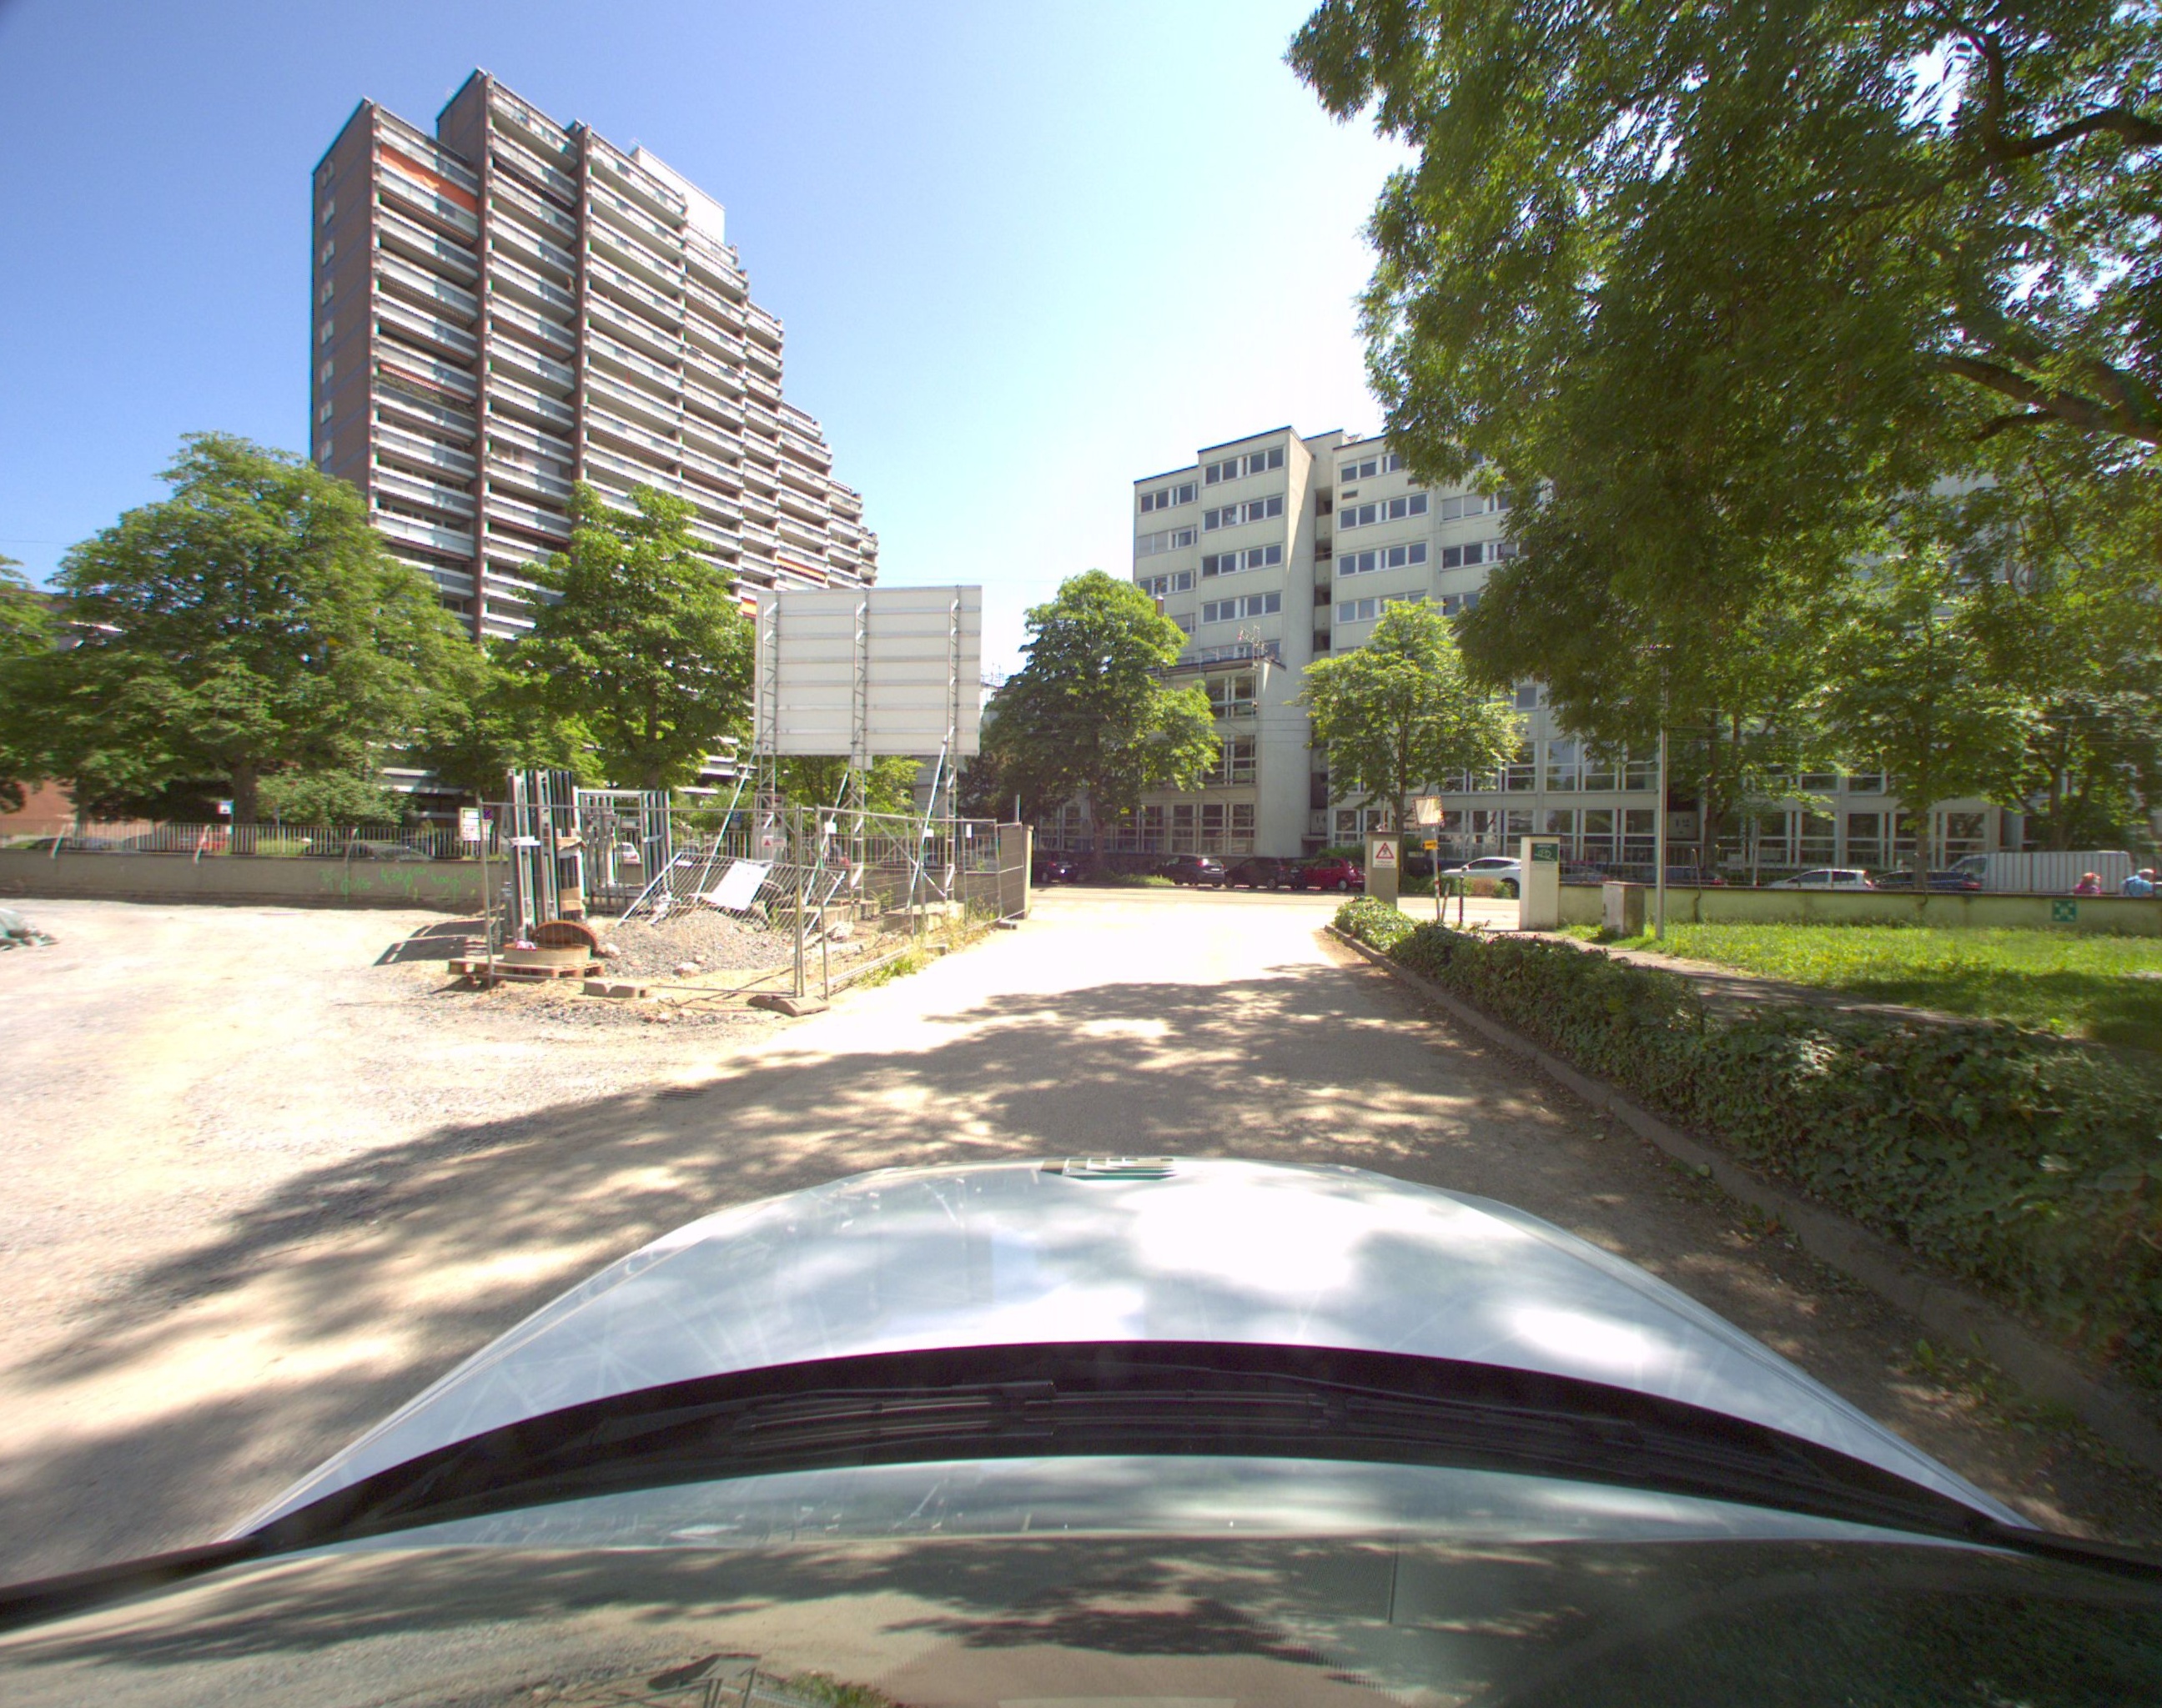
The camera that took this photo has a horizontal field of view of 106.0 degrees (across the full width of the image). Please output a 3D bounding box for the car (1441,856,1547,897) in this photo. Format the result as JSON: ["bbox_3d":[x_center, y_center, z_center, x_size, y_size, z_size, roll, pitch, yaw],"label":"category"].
[{"bbox_3d":[17.673,0.908,34.956,1.620,1.620,3.701,1,0,-40],"label":"car"}]

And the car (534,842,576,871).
[{"bbox_3d":[-26.108,0.116,40.363,1.645,1.387,3.639,1,0,-34],"label":"car"}]

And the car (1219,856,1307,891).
[{"bbox_3d":[8.050,0.828,36.226,1.620,1.445,3.636,1,0,-38],"label":"car"}]

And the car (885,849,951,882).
[{"bbox_3d":[-7.589,0.509,37.719,1.645,1.463,3.638,1,0,-36],"label":"car"}]

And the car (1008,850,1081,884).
[{"bbox_3d":[-1.716,0.565,37.426,1.645,1.463,3.638,1,0,-36],"label":"car"}]

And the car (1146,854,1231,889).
[{"bbox_3d":[4.827,0.748,36.832,1.653,1.463,3.634,1,0,-41],"label":"car"}]

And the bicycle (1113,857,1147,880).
[{"bbox_3d":[2.677,0.747,43.944,0.773,1.188,2.447,0,0,31],"label":"bicycle"}]

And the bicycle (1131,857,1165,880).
[{"bbox_3d":[3.581,0.752,43.436,0.773,1.188,2.447,0,0,31],"label":"bicycle"}]

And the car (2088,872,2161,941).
[{"bbox_3d":[25.498,1.175,18.054,3.903,1.464,1.710,1,0,7],"label":"car"}]

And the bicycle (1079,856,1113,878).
[{"bbox_3d":[0.839,0.717,44.975,0.773,1.157,2.399,0,0,31],"label":"bicycle"}]

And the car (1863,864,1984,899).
[{"bbox_3d":[34.013,1.084,32.947,1.542,1.291,3.325,1,0,-40],"label":"car"}]

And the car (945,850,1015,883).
[{"bbox_3d":[-4.728,0.558,37.753,1.645,1.463,3.638,1,0,-36],"label":"car"}]

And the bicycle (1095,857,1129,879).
[{"bbox_3d":[1.726,0.756,44.460,0.773,1.157,2.399,0,0,31],"label":"bicycle"}]

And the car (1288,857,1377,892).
[{"bbox_3d":[11.081,0.867,36.068,1.619,1.437,3.565,1,0,-34],"label":"car"}]

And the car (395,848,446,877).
[{"bbox_3d":[-32.507,0.403,40.161,1.645,1.387,3.639,1,0,-34],"label":"car"}]

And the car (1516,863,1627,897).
[{"bbox_3d":[20.752,1.071,34.590,1.619,1.281,3.705,1,0,-34],"label":"car"}]

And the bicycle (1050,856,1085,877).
[{"bbox_3d":[-0.735,0.696,45.887,0.773,1.157,2.399,0,0,31],"label":"bicycle"}]

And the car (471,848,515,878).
[{"bbox_3d":[-28.641,0.417,39.737,1.645,1.387,3.639,1,0,-34],"label":"car"}]

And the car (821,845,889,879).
[{"bbox_3d":[-10.404,0.333,37.343,1.647,1.463,3.635,1,0,-40],"label":"car"}]

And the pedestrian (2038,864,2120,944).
[{"bbox_3d":[20.448,1.007,16.706,0.726,1.590,0.743,0,-2,10],"label":"pedestrian"}]

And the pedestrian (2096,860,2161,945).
[{"bbox_3d":[20.235,0.921,15.556,0.726,1.590,0.742,1,-2,8],"label":"pedestrian"}]

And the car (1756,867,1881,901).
[{"bbox_3d":[30.511,1.200,33.756,1.621,1.291,3.700,1,0,-42],"label":"car"}]

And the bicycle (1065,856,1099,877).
[{"bbox_3d":[0.084,0.695,45.410,0.773,1.157,2.399,0,0,31],"label":"bicycle"}]

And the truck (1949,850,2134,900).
[{"bbox_3d":[37.491,0.790,31.966,1.664,1.833,4.590,1,-1,-40],"label":"truck"}]

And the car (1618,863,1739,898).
[{"bbox_3d":[24.540,1.066,33.582,1.618,1.305,3.706,1,0,-34],"label":"car"}]

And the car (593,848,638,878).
[{"bbox_3d":[-22.788,0.428,39.818,1.645,1.387,3.639,1,0,-34],"label":"car"}]

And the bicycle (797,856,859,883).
[{"bbox_3d":[-10.900,0.657,35.089,2.422,1.152,0.787,1,0,3],"label":"bicycle"}]

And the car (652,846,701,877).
[{"bbox_3d":[-19.480,0.343,39.165,1.645,1.387,3.639,1,0,-34],"label":"car"}]

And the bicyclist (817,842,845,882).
[{"bbox_3d":[-10.785,0.344,35.096,0.894,1.665,0.859,0,0,3],"label":"bicyclist"}]

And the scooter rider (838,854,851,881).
[{"bbox_3d":[-9.977,0.580,34.320,0.414,1.134,0.359,0,0,3],"label":"scooter rider"}]
